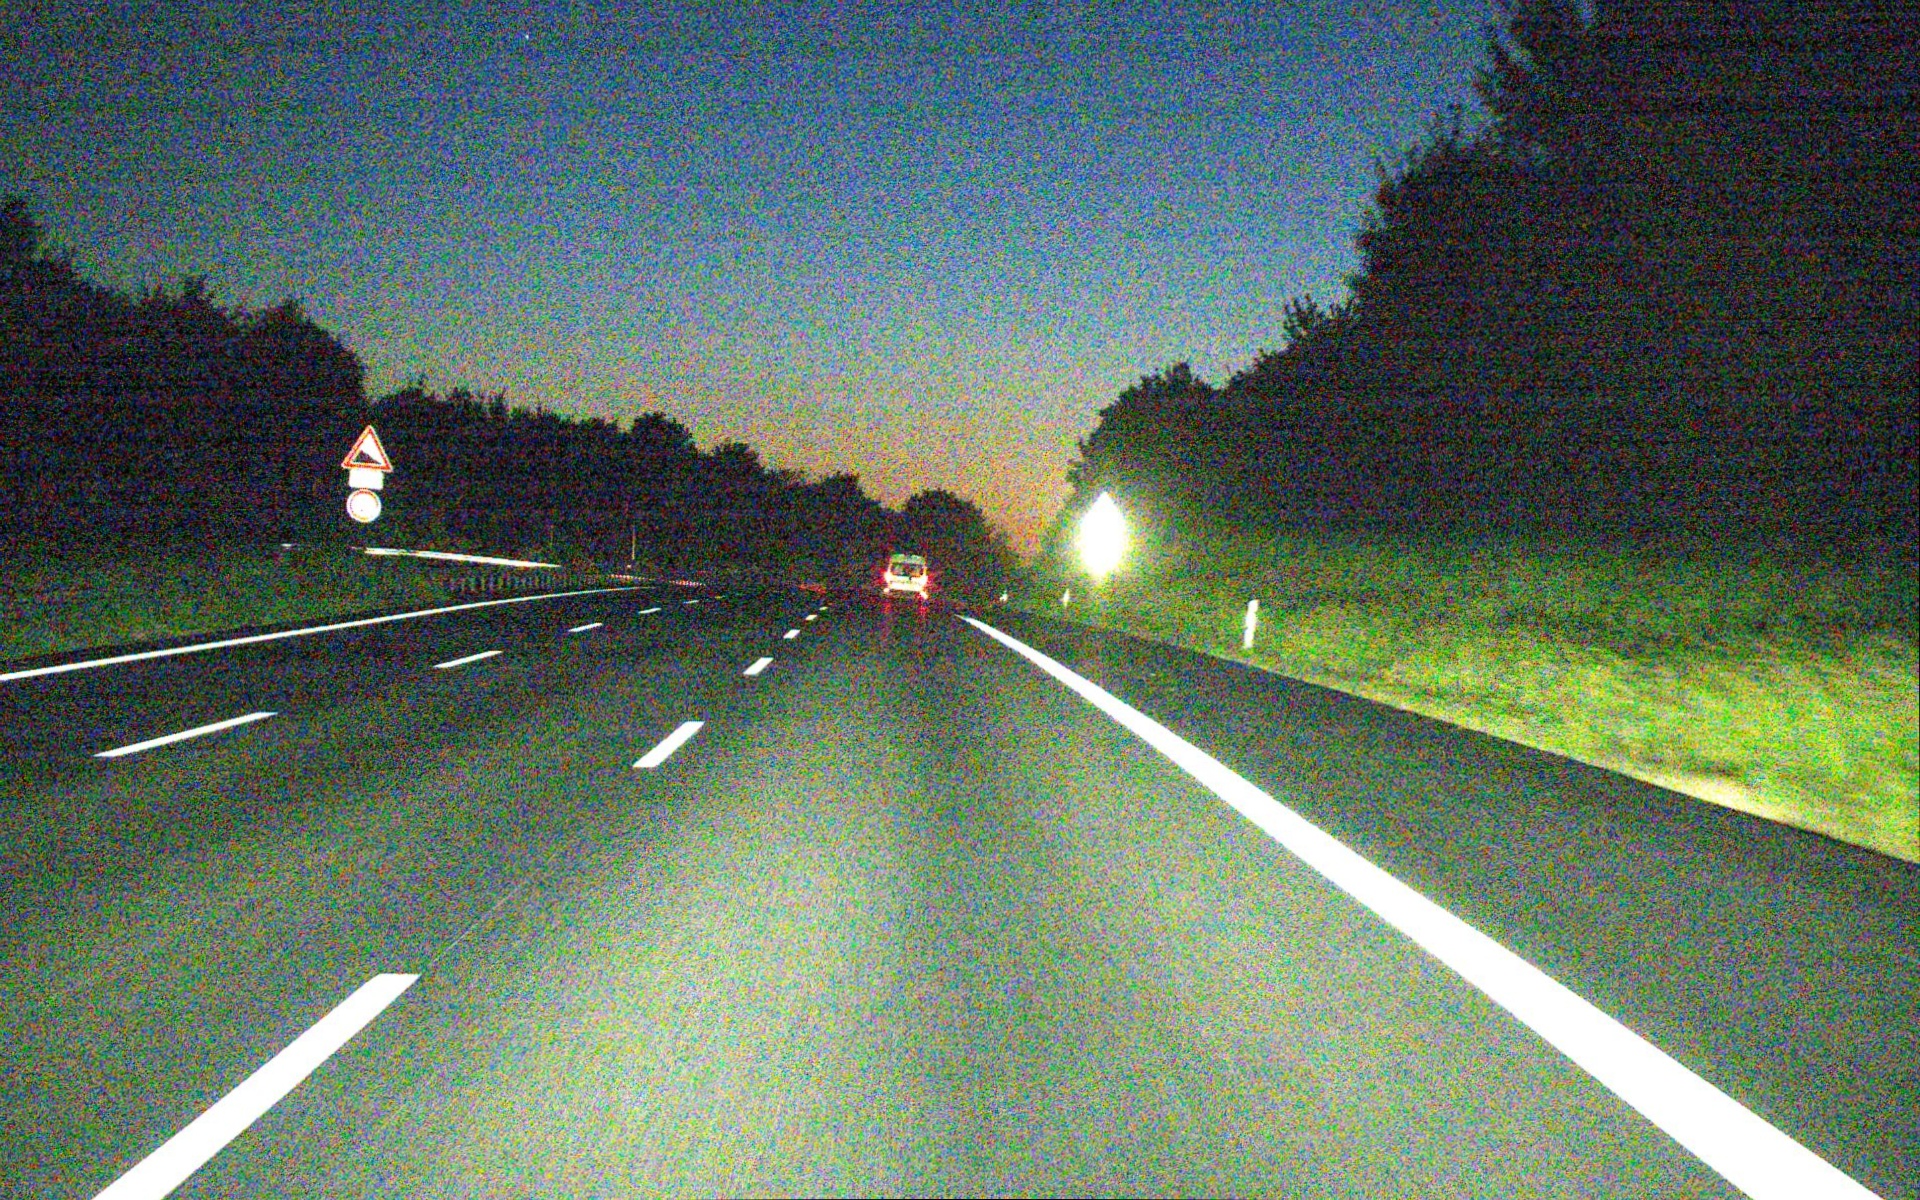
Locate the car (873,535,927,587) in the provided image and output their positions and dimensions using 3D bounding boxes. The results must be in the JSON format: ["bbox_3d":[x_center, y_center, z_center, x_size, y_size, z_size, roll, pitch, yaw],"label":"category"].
[{"bbox_3d":[-3.101,-2.034,178.668,2.528,2.544,6.051,2,1,1],"label":"car"}]
